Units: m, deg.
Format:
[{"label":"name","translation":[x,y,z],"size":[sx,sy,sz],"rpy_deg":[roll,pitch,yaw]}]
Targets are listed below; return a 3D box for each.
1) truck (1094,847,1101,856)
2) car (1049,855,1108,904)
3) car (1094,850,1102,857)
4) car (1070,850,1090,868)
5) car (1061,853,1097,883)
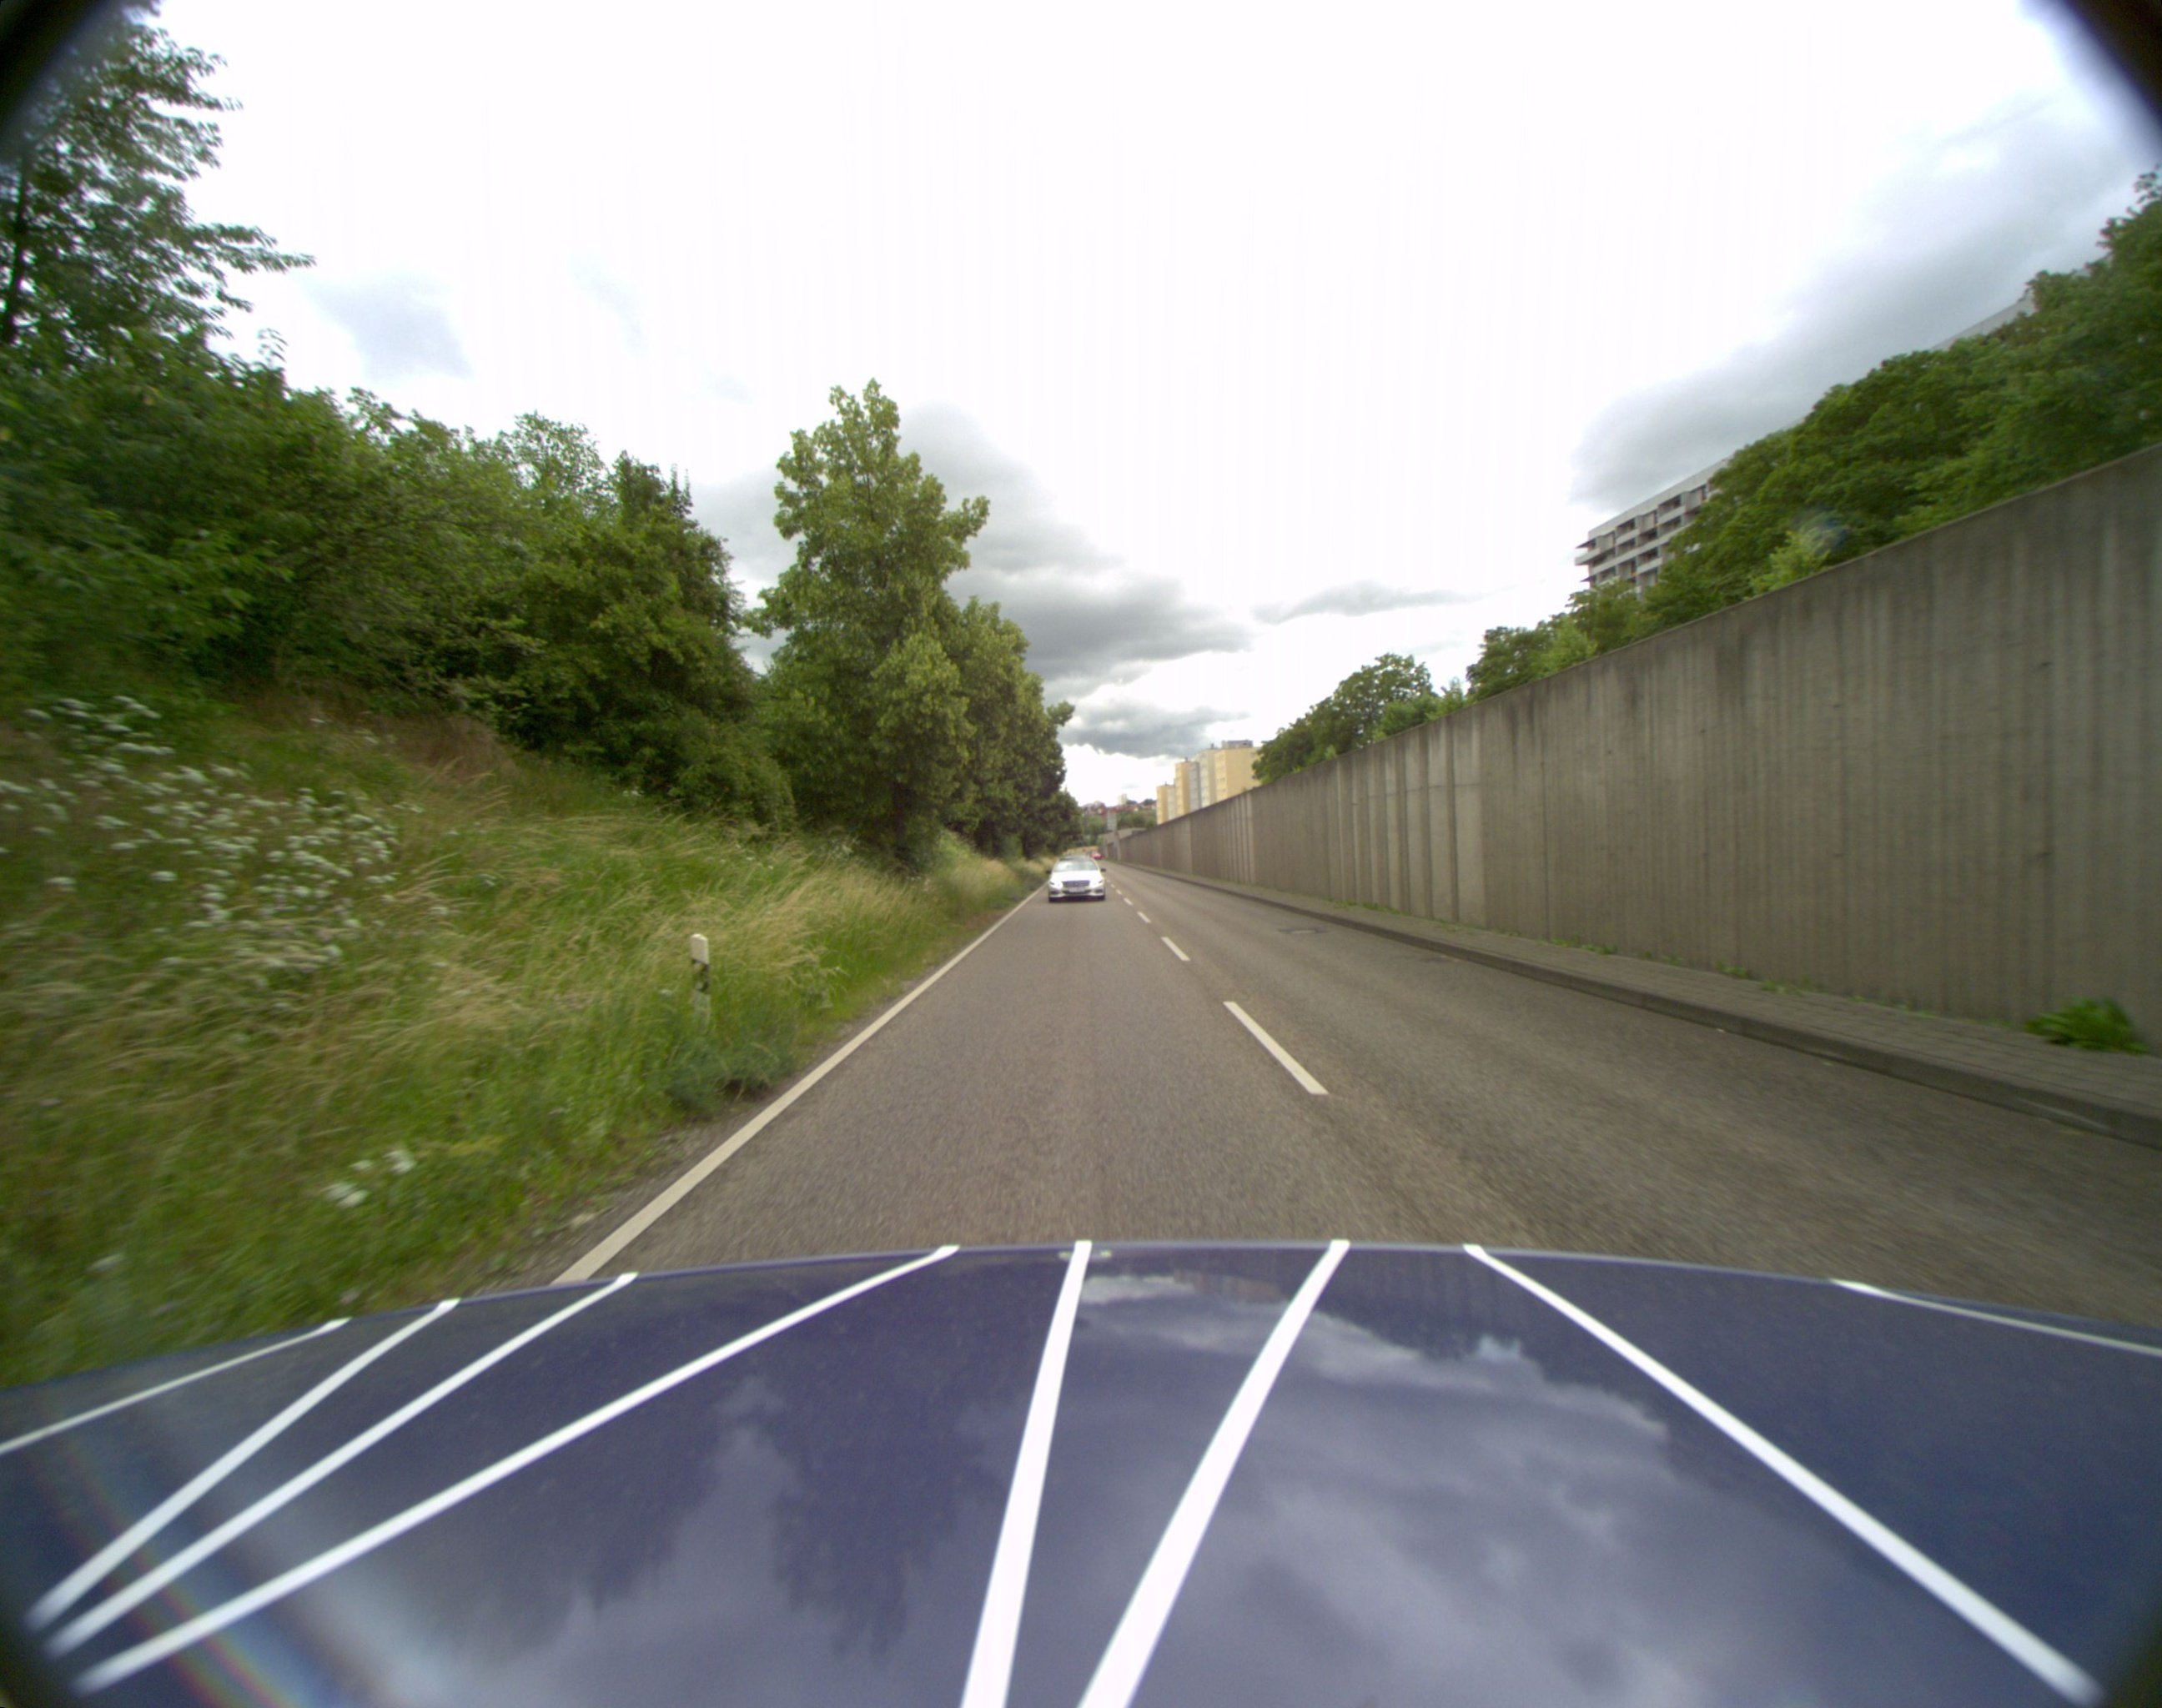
[{"label":"truck","translation":[4.163,-0.553,193.410],"size":[1.593,2.210,3.999],"rpy_deg":[-2,1,1]},{"label":"car","translation":[-0.074,0.813,26.443],"size":[1.842,1.499,4.160],"rpy_deg":[-2,0,0]},{"label":"car","translation":[3.677,-0.081,163.927],"size":[1.639,1.478,3.493],"rpy_deg":[-2,0,0]},{"label":"car","translation":[-0.066,0.508,80.689],"size":[1.998,1.745,4.000],"rpy_deg":[-2,0,1]},{"label":"car","translation":[-0.096,0.724,42.281],"size":[1.878,1.459,3.999],"rpy_deg":[-2,1,0]}]
